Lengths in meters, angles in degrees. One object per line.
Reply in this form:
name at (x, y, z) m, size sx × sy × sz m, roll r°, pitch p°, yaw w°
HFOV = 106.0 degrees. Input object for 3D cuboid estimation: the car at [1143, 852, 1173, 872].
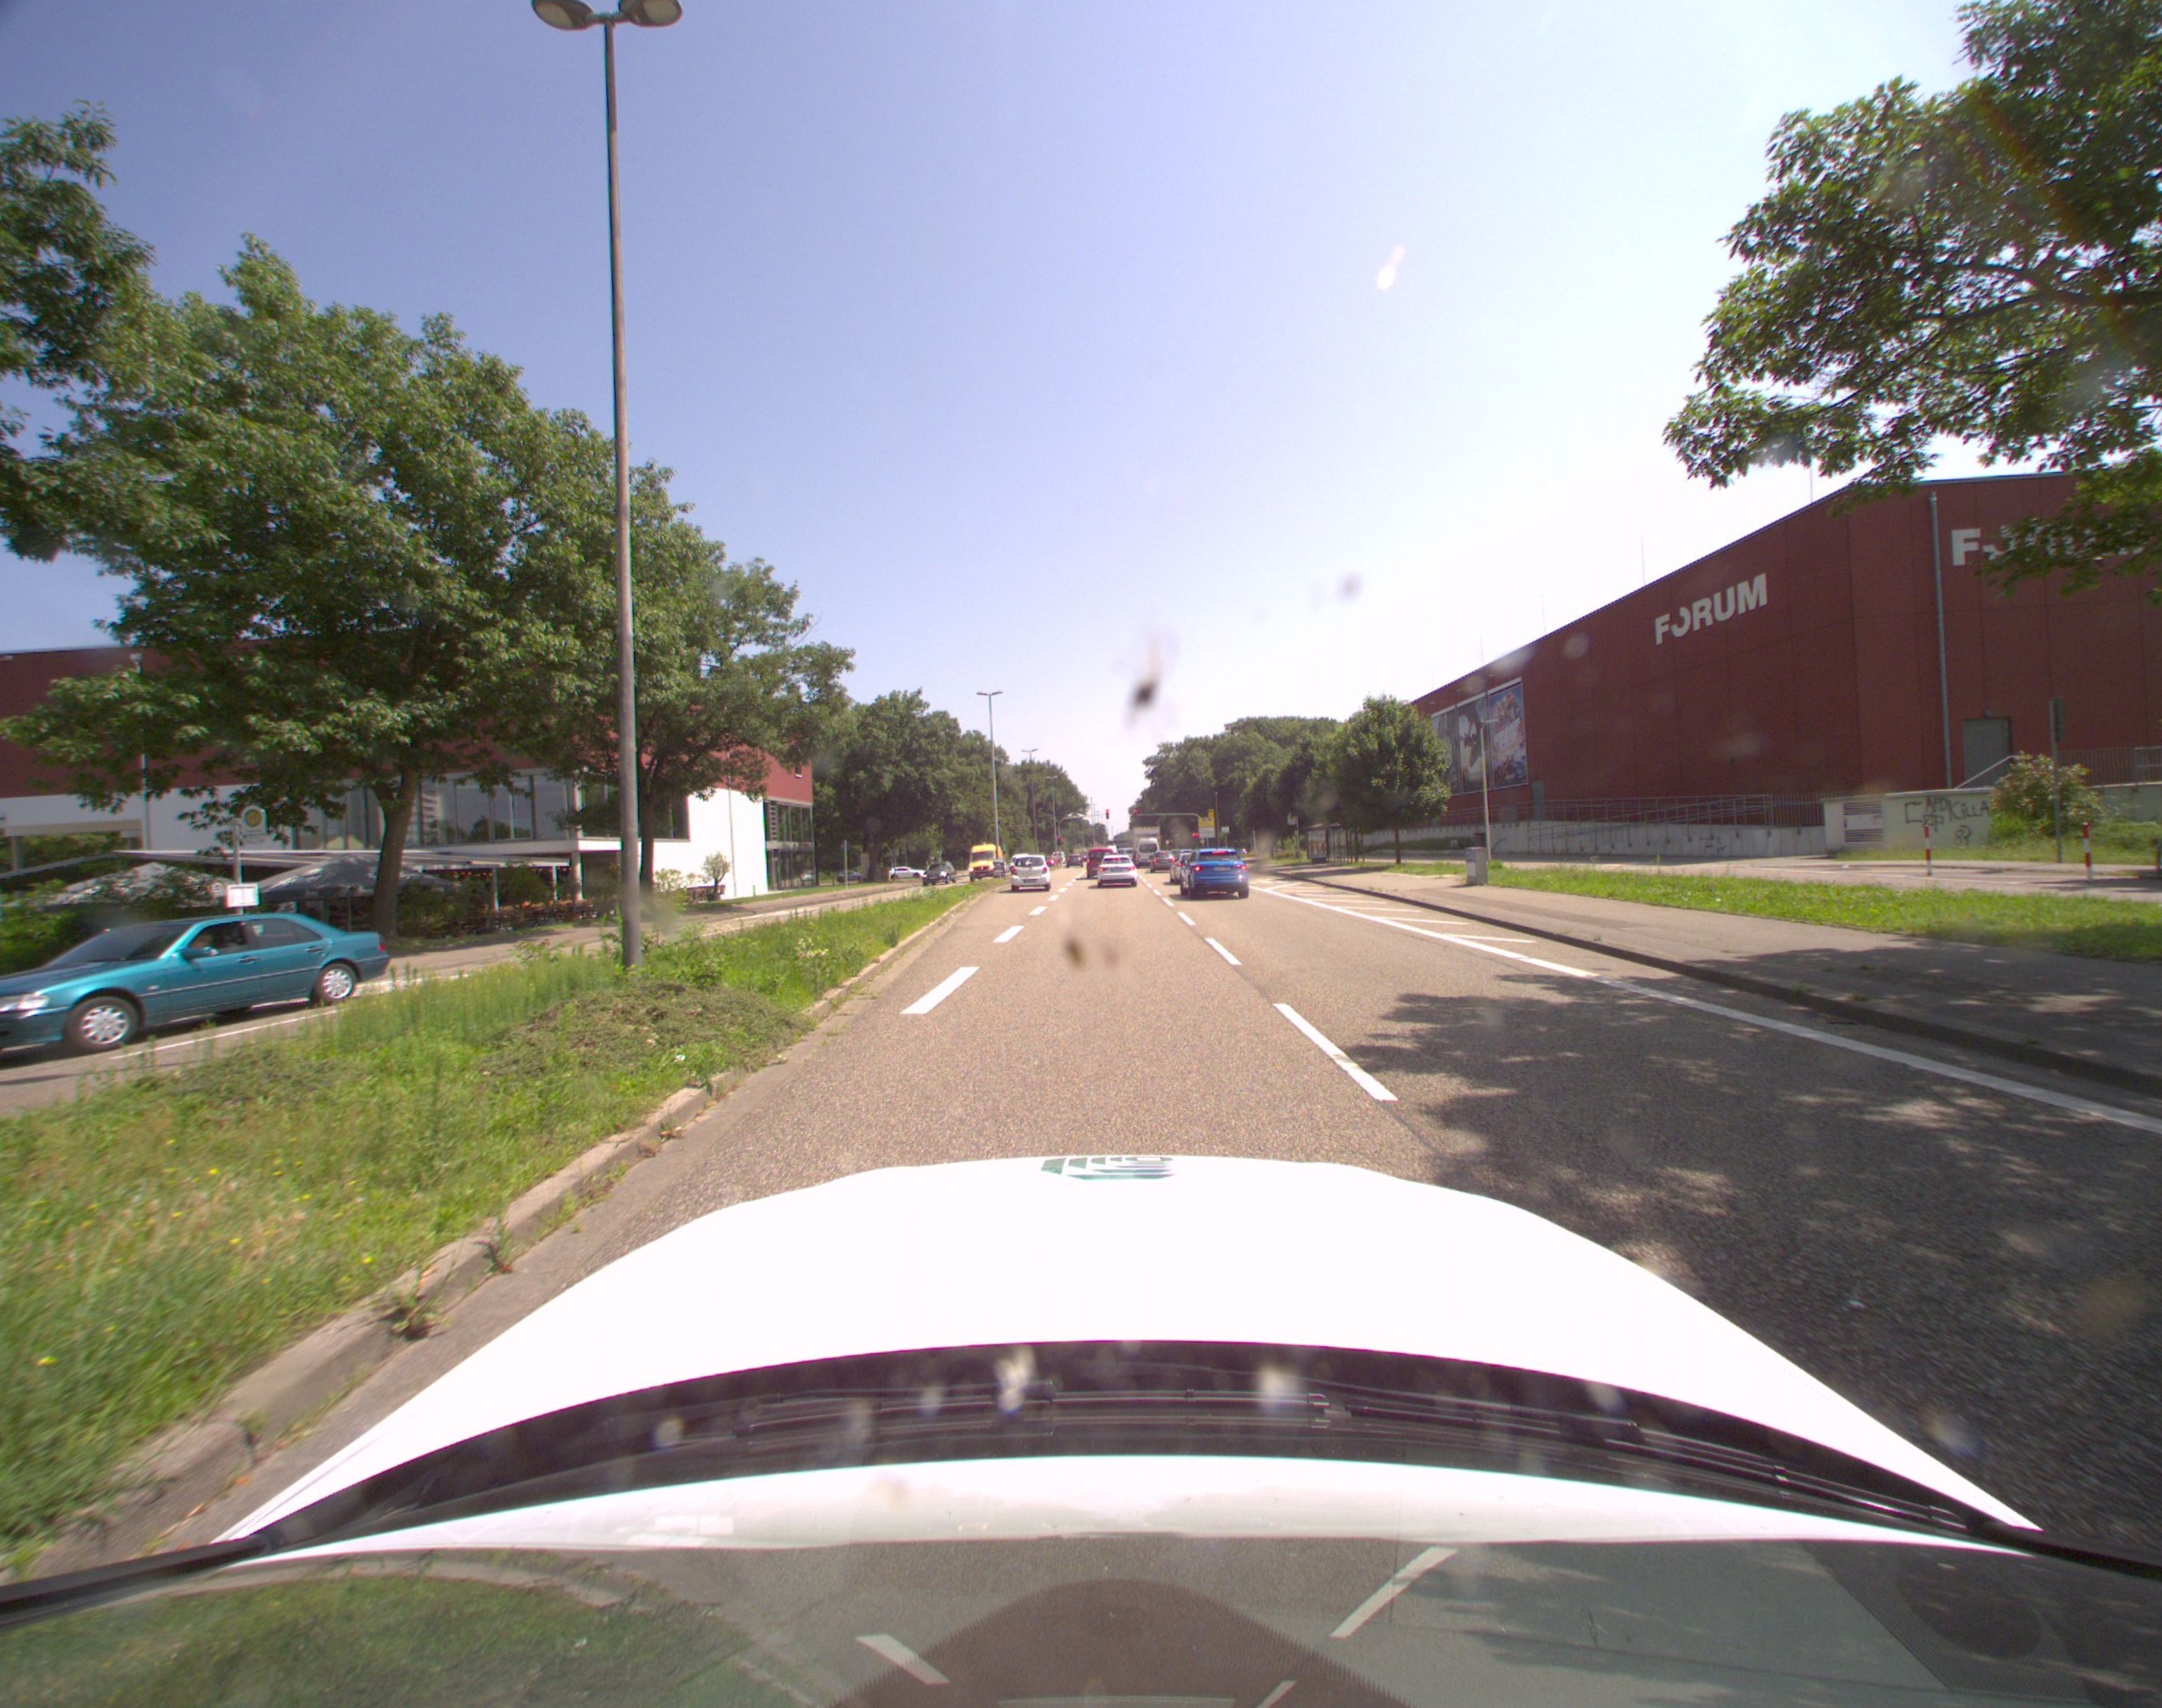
car at (5.411, 0.578, 57.551) m, size 1.859 × 1.310 × 4.001 m, roll -2°, pitch -1°, yaw 2°

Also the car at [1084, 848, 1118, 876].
car at (1.140, 0.459, 48.624) m, size 1.790 × 1.523 × 3.997 m, roll -2°, pitch -1°, yaw -2°

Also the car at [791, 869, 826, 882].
car at (-35.141, 2.760, 104.996) m, size 3.981 × 1.398 × 1.586 m, roll -3°, pitch 0°, yaw -5°

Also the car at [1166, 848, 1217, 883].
car at (5.055, 0.524, 37.667) m, size 1.859 × 1.473 × 4.001 m, roll -2°, pitch -1°, yaw 2°

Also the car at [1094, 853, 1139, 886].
car at (1.607, 0.688, 36.816) m, size 1.877 × 1.354 × 4.002 m, roll -2°, pitch -1°, yaw 2°

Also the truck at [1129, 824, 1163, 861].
truck at (6.569, -1.143, 83.566) m, size 2.921 × 3.502 × 9.162 m, roll -3°, pitch 0°, yaw 2°

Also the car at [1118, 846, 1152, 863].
car at (7.302, 0.079, 109.963) m, size 3.949 × 2.013 × 2.013 m, roll -3°, pitch 0°, yaw 29°

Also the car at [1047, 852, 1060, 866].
car at (-3.828, 0.634, 112.977) m, size 1.613 × 1.783 × 3.115 m, roll -3°, pitch 0°, yaw -1°

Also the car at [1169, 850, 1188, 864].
car at (10.596, 0.326, 88.942) m, size 1.627 × 1.464 × 4.002 m, roll -3°, pitch 0°, yaw 2°

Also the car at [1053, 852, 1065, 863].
car at (-3.566, 0.536, 133.002) m, size 1.589 × 1.582 × 3.773 m, roll -3°, pitch 0°, yaw 2°

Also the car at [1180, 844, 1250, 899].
car at (4.301, 0.542, 26.714) m, size 1.801 × 1.593 × 4.353 m, roll -2°, pitch -1°, yaw 3°

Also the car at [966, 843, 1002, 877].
car at (-6.940, 0.457, 58.855) m, size 1.772 × 2.282 × 4.755 m, roll -2°, pitch -1°, yaw 2°

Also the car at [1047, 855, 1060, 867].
car at (-3.145, 0.800, 94.584) m, size 1.364 × 1.308 × 2.692 m, roll -3°, pitch 0°, yaw -1°

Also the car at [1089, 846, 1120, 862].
car at (3.286, 0.003, 113.691) m, size 2.011 × 2.013 × 3.952 m, roll -3°, pitch 0°, yaw -41°

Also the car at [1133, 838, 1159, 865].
car at (5.803, -0.187, 72.993) m, size 1.986 × 2.255 × 4.002 m, roll -3°, pitch 0°, yaw 2°

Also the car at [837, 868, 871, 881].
car at (-29.988, 2.723, 107.750) m, size 3.981 × 1.398 × 1.586 m, roll -3°, pitch 0°, yaw -5°

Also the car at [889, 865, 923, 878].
car at (-22.454, 2.296, 104.390) m, size 3.981 × 1.398 × 1.586 m, roll -3°, pitch 0°, yaw -5°

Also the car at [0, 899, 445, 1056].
car at (-11.611, 1.526, 11.279) m, size 1.814 × 1.369 × 4.521 m, roll -6°, pitch 0°, yaw 2°

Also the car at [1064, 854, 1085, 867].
car at (-0.707, 0.722, 88.317) m, size 1.986 × 1.288 × 4.002 m, roll -3°, pitch 0°, yaw 2°

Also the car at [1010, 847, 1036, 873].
car at (-5.456, 0.569, 77.125) m, size 1.771 × 2.282 × 4.004 m, roll -2°, pitch -1°, yaw 4°

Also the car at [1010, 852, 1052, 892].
car at (-2.118, 0.747, 35.016) m, size 1.634 × 1.552 × 3.322 m, roll -2°, pitch -1°, yaw -2°

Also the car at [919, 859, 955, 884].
car at (-10.410, 1.234, 59.200) m, size 1.704 × 1.662 × 4.001 m, roll -2°, pitch -1°, yaw 2°
